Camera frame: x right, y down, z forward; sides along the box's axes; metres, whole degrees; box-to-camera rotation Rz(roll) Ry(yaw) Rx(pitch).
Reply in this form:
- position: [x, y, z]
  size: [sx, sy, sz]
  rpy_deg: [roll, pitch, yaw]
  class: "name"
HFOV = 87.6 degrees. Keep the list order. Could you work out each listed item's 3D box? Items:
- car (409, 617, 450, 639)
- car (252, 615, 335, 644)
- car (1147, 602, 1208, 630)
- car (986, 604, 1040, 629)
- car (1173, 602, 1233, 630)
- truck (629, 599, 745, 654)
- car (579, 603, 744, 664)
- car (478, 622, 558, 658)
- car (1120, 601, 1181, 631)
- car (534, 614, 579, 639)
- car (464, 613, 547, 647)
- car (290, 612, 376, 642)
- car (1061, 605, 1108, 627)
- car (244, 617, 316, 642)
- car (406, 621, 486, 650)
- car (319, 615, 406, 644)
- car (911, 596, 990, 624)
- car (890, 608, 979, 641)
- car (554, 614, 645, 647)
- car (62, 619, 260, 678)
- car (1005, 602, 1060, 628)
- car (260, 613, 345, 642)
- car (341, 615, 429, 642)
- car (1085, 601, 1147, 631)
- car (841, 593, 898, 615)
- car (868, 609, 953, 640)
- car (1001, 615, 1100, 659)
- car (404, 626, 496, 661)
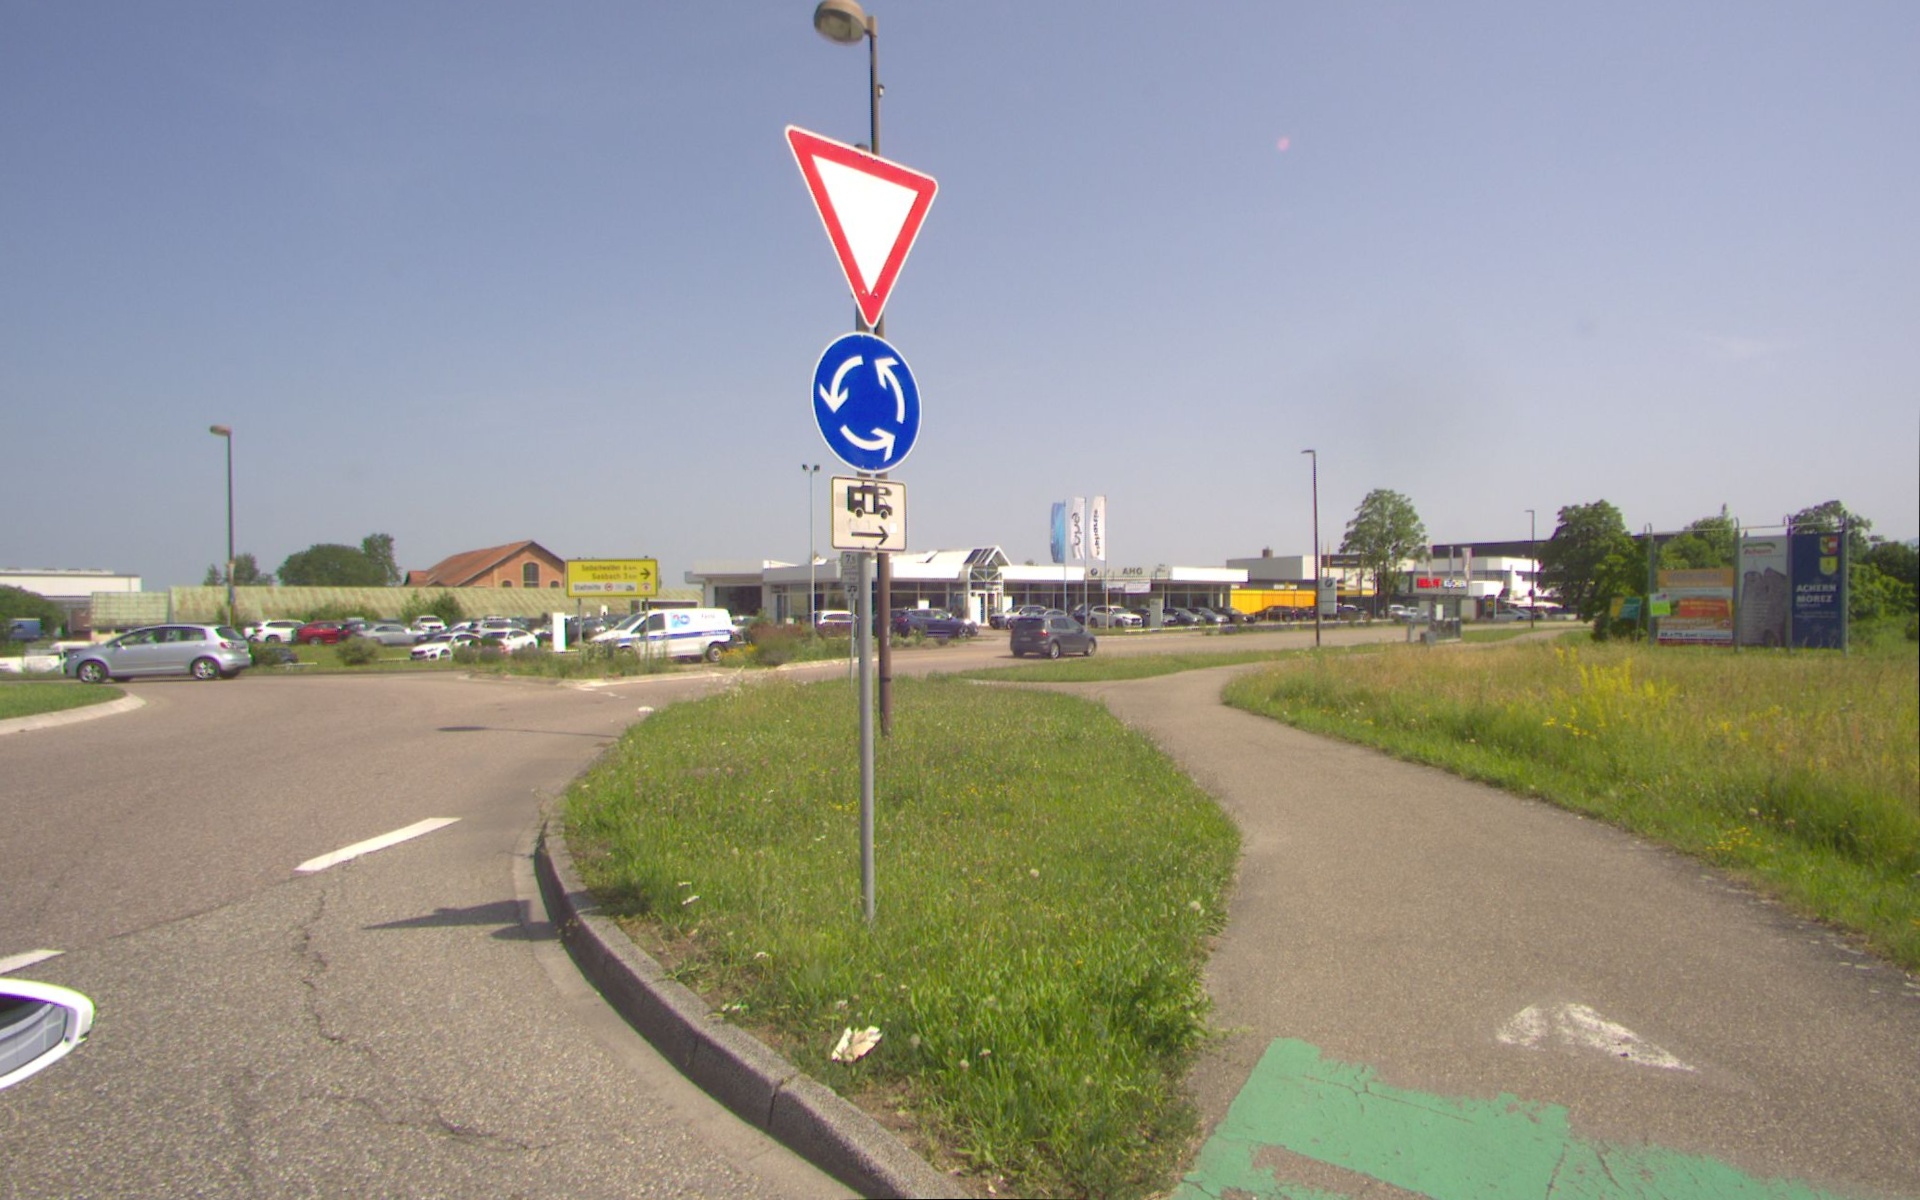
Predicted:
- position: [-41.160, 2.158, 77.630]
  size: [1.901, 1.617, 4.268]
  rpy_deg: [-1, 0, -40]
  class: "car"
- position: [-44.700, 1.976, 67.207]
  size: [4.421, 1.770, 1.822]
  rpy_deg: [-1, 0, -43]
  class: "car"
- position: [16.524, 1.256, 76.273]
  size: [1.977, 2.039, 4.230]
  rpy_deg: [1, -3, -38]
  class: "car"
- position: [3.729, 1.154, 70.258]
  size: [3.657, 1.675, 1.569]
  rpy_deg: [1, -3, -40]
  class: "car"
- position: [18.949, 1.304, 78.186]
  size: [1.977, 2.039, 4.230]
  rpy_deg: [1, -3, -38]
  class: "car"
- position: [-14.238, 1.349, 52.419]
  size: [5.558, 2.700, 1.935]
  rpy_deg: [-1, 0, -37]
  class: "truck"
- position: [-10.214, 1.166, 34.512]
  size: [5.167, 1.962, 1.848]
  rpy_deg: [1, -3, -37]
  class: "car"
- position: [-23.954, 2.141, 54.424]
  size: [1.734, 1.592, 4.661]
  rpy_deg: [-1, 2, 8]
  class: "car"
- position: [14.116, 1.210, 74.408]
  size: [1.977, 2.039, 4.230]
  rpy_deg: [1, -3, -38]
  class: "car"
- position: [-27.646, 1.761, 68.762]
  size: [1.626, 1.607, 4.267]
  rpy_deg: [-1, 0, -4]
  class: "car"
- position: [-26.715, 1.741, 58.926]
  size: [3.966, 1.774, 1.931]
  rpy_deg: [-2, 1, -43]
  class: "car"
- position: [-40.318, 1.708, 64.433]
  size: [4.421, 1.770, 1.932]
  rpy_deg: [-1, 0, -43]
  class: "car"
- position: [9.864, 1.264, 79.069]
  size: [3.657, 1.675, 1.569]
  rpy_deg: [1, -3, -40]
  class: "car"
- position: [-46.591, 2.005, 68.607]
  size: [3.847, 1.553, 1.752]
  rpy_deg: [-1, 0, -43]
  class: "car"
- position: [-30.421, 2.074, 59.318]
  size: [3.959, 1.546, 1.935]
  rpy_deg: [-1, 0, -37]
  class: "car"
- position: [-37.661, 1.824, 63.179]
  size: [4.421, 1.656, 1.932]
  rpy_deg: [-1, 0, -43]
  class: "car"
- position: [-0.570, 0.568, 57.568]
  size: [4.293, 1.532, 1.908]
  rpy_deg: [-1, 0, -10]
  class: "car"
- position: [-1.341, 1.239, 51.336]
  size: [4.293, 1.532, 1.908]
  rpy_deg: [-1, 0, -10]
  class: "car"
- position: [-20.275, 1.698, 56.476]
  size: [4.379, 1.520, 1.932]
  rpy_deg: [-4, 1, -43]
  class: "car"
- position: [-22.231, 1.341, 28.076]
  size: [4.025, 1.549, 1.778]
  rpy_deg: [0, -2, -28]
  class: "car"
- position: [4.913, 1.018, 67.714]
  size: [3.657, 1.675, 1.569]
  rpy_deg: [1, -3, -40]
  class: "car"
- position: [-42.891, 1.789, 65.384]
  size: [4.421, 1.770, 1.822]
  rpy_deg: [-1, 0, -43]
  class: "car"
- position: [-35.498, 1.745, 61.856]
  size: [4.421, 1.520, 1.931]
  rpy_deg: [-1, 0, -43]
  class: "car"
- position: [11.287, 1.180, 72.805]
  size: [1.977, 2.039, 4.230]
  rpy_deg: [1, -3, -38]
  class: "car"
- position: [-6.979, 0.315, 77.629]
  size: [3.992, 1.607, 1.895]
  rpy_deg: [-1, 0, -37]
  class: "car"
- position: [-2.634, 1.295, 53.194]
  size: [4.293, 1.532, 1.908]
  rpy_deg: [-1, 0, -10]
  class: "car"
- position: [3.447, 1.350, 37.624]
  size: [1.752, 1.503, 4.010]
  rpy_deg: [-1, 0, 39]
  class: "car"
- position: [-26.863, 2.268, 52.916]
  size: [1.736, 1.591, 4.572]
  rpy_deg: [-2, 0, 14]
  class: "car"
